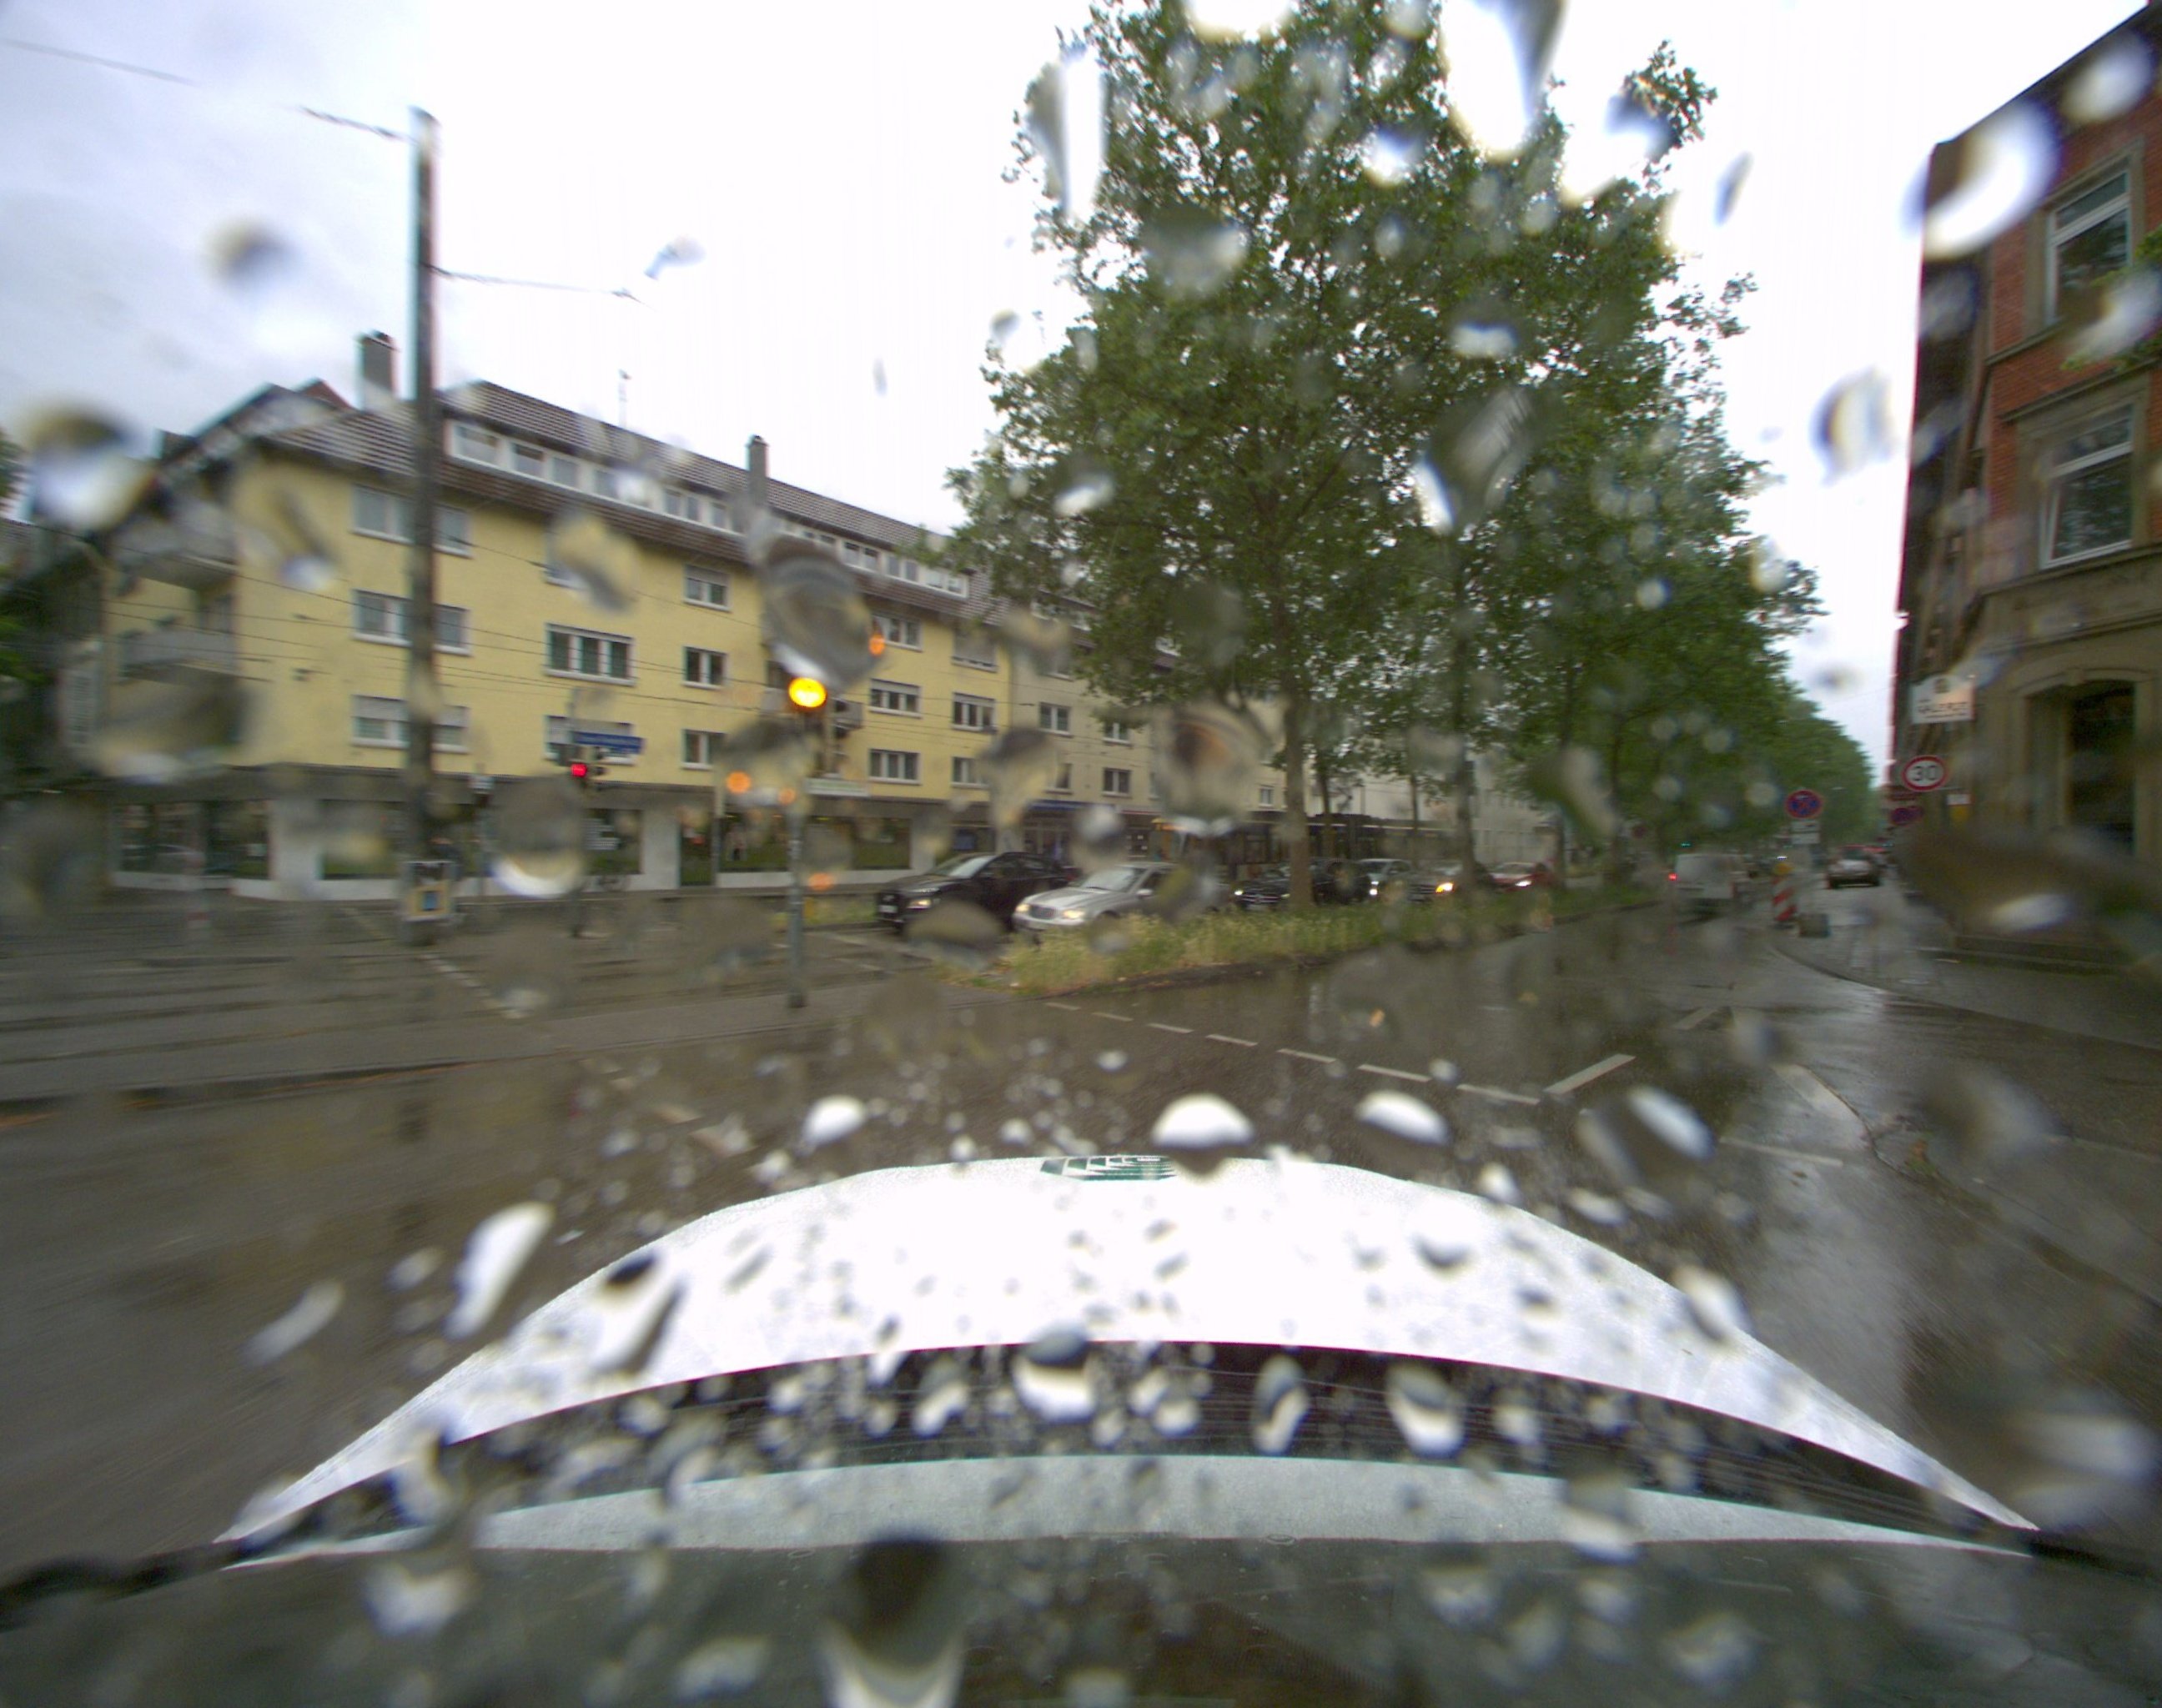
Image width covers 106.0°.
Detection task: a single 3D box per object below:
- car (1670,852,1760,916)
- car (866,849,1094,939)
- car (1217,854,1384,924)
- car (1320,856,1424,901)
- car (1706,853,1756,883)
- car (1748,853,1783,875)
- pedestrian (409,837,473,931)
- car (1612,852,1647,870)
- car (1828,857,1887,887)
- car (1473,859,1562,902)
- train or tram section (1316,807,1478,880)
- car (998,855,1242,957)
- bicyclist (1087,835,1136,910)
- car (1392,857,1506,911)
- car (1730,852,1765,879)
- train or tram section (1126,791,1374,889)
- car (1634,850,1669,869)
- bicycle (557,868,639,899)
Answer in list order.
[{"bbox_3d":[19.741,0.893,25.309,1.886,1.797,4.138,1,-1,42],"label":"car"},{"bbox_3d":[-1.829,0.661,15.968,1.856,1.501,4.311,1,1,40],"label":"car"},{"bbox_3d":[5.445,0.749,19.810,4.667,1.485,1.840,0,1,-45],"label":"car"},{"bbox_3d":[10.092,0.799,28.071,4.154,1.397,1.725,0,1,-45],"label":"car"},{"bbox_3d":[37.613,0.766,47.069,4.379,1.635,1.683,0,0,-44],"label":"car"},{"bbox_3d":[51.168,0.726,60.845,1.634,1.500,4.143,3,2,45],"label":"car"},{"bbox_3d":[-11.864,0.540,15.128,0.817,1.677,1.006,1,0,-32],"label":"pedestrian"},{"bbox_3d":[45.538,0.594,67.541,1.723,1.342,3.778,5,3,44],"label":"car"},{"bbox_3d":[39.942,0.897,41.876,4.722,1.421,1.797,0,-3,-42],"label":"car"},{"bbox_3d":[16.294,0.933,30.309,1.725,1.397,4.257,1,1,45],"label":"car"},{"bbox_3d":[18.348,-0.569,46.171,3.077,3.558,14.762,1,1,44],"label":"train or tram section"},{"bbox_3d":[0.835,0.781,14.436,1.719,1.489,4.526,1,1,45],"label":"car"},{"bbox_3d":[0.727,0.426,19.101,0.705,1.716,0.895,0,-1,42],"label":"bicyclist"},{"bbox_3d":[11.432,0.855,25.132,4.457,1.480,1.725,0,1,-45],"label":"car"},{"bbox_3d":[44.480,0.717,54.323,1.609,1.681,3.682,2,2,42],"label":"car"},{"bbox_3d":[8.021,-0.533,35.715,14.662,3.558,3.078,0,1,-45],"label":"train or tram section"},{"bbox_3d":[51.203,0.493,73.049,1.975,1.612,4.024,1,1,44],"label":"car"},{"bbox_3d":[-14.847,0.894,25.073,2.058,0.897,0.606,1,0,-44],"label":"bicycle"}]
